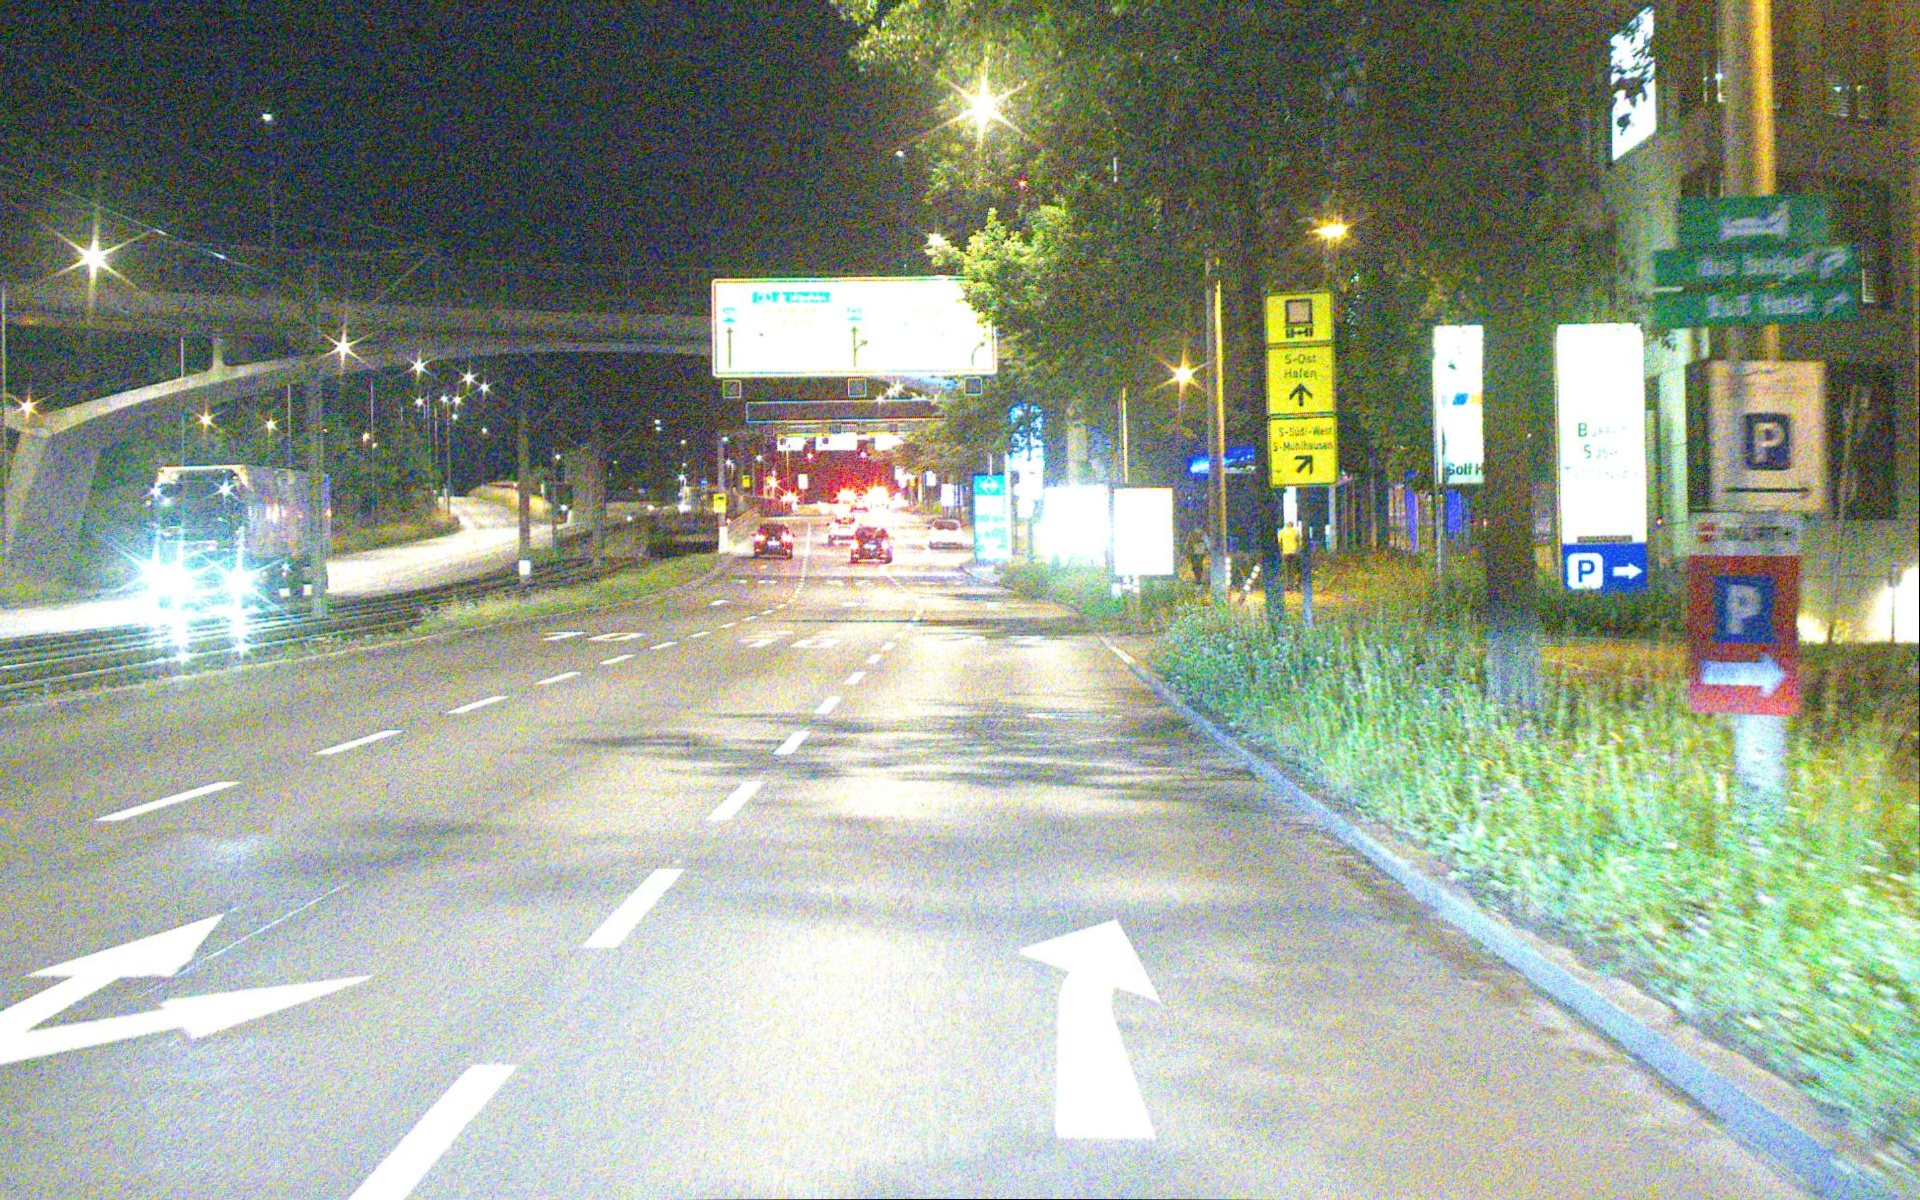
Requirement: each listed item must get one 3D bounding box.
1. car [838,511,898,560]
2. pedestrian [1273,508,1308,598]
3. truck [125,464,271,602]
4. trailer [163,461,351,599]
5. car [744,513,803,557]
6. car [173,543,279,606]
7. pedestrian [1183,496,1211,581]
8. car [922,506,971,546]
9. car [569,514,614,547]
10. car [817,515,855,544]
[{"bbox_3d":[-4.086,-2.901,153.741,2.356,2.121,4.826,0,2,3],"label":"car"},{"bbox_3d":[7.636,-1.084,79.467,0.762,2.056,0.643,0,2,0],"label":"pedestrian"},{"bbox_3d":[-21.638,-1.937,97.809,3.041,3.806,4.935,0,2,0],"label":"truck"},{"bbox_3d":[-21.654,-2.243,106.769,2.994,3.986,13.956,0,2,0],"label":"trailer"},{"bbox_3d":[-8.584,-3.021,158.890,2.263,2.006,4.826,0,2,3],"label":"car"},{"bbox_3d":[-18.411,-0.655,86.368,1.911,1.468,3.772,0,2,-1],"label":"car"},{"bbox_3d":[6.762,-1.753,98.057,0.745,2.426,0.779,1,1,2],"label":"pedestrian"},{"bbox_3d":[-0.698,-4.057,187.044,2.427,2.106,4.826,0,2,3],"label":"car"},{"bbox_3d":[-19.567,-3.700,182.862,1.993,1.698,4.000,0,2,0],"label":"car"},{"bbox_3d":[-6.876,-3.932,191.414,1.993,1.548,4.000,0,1,0],"label":"car"}]
